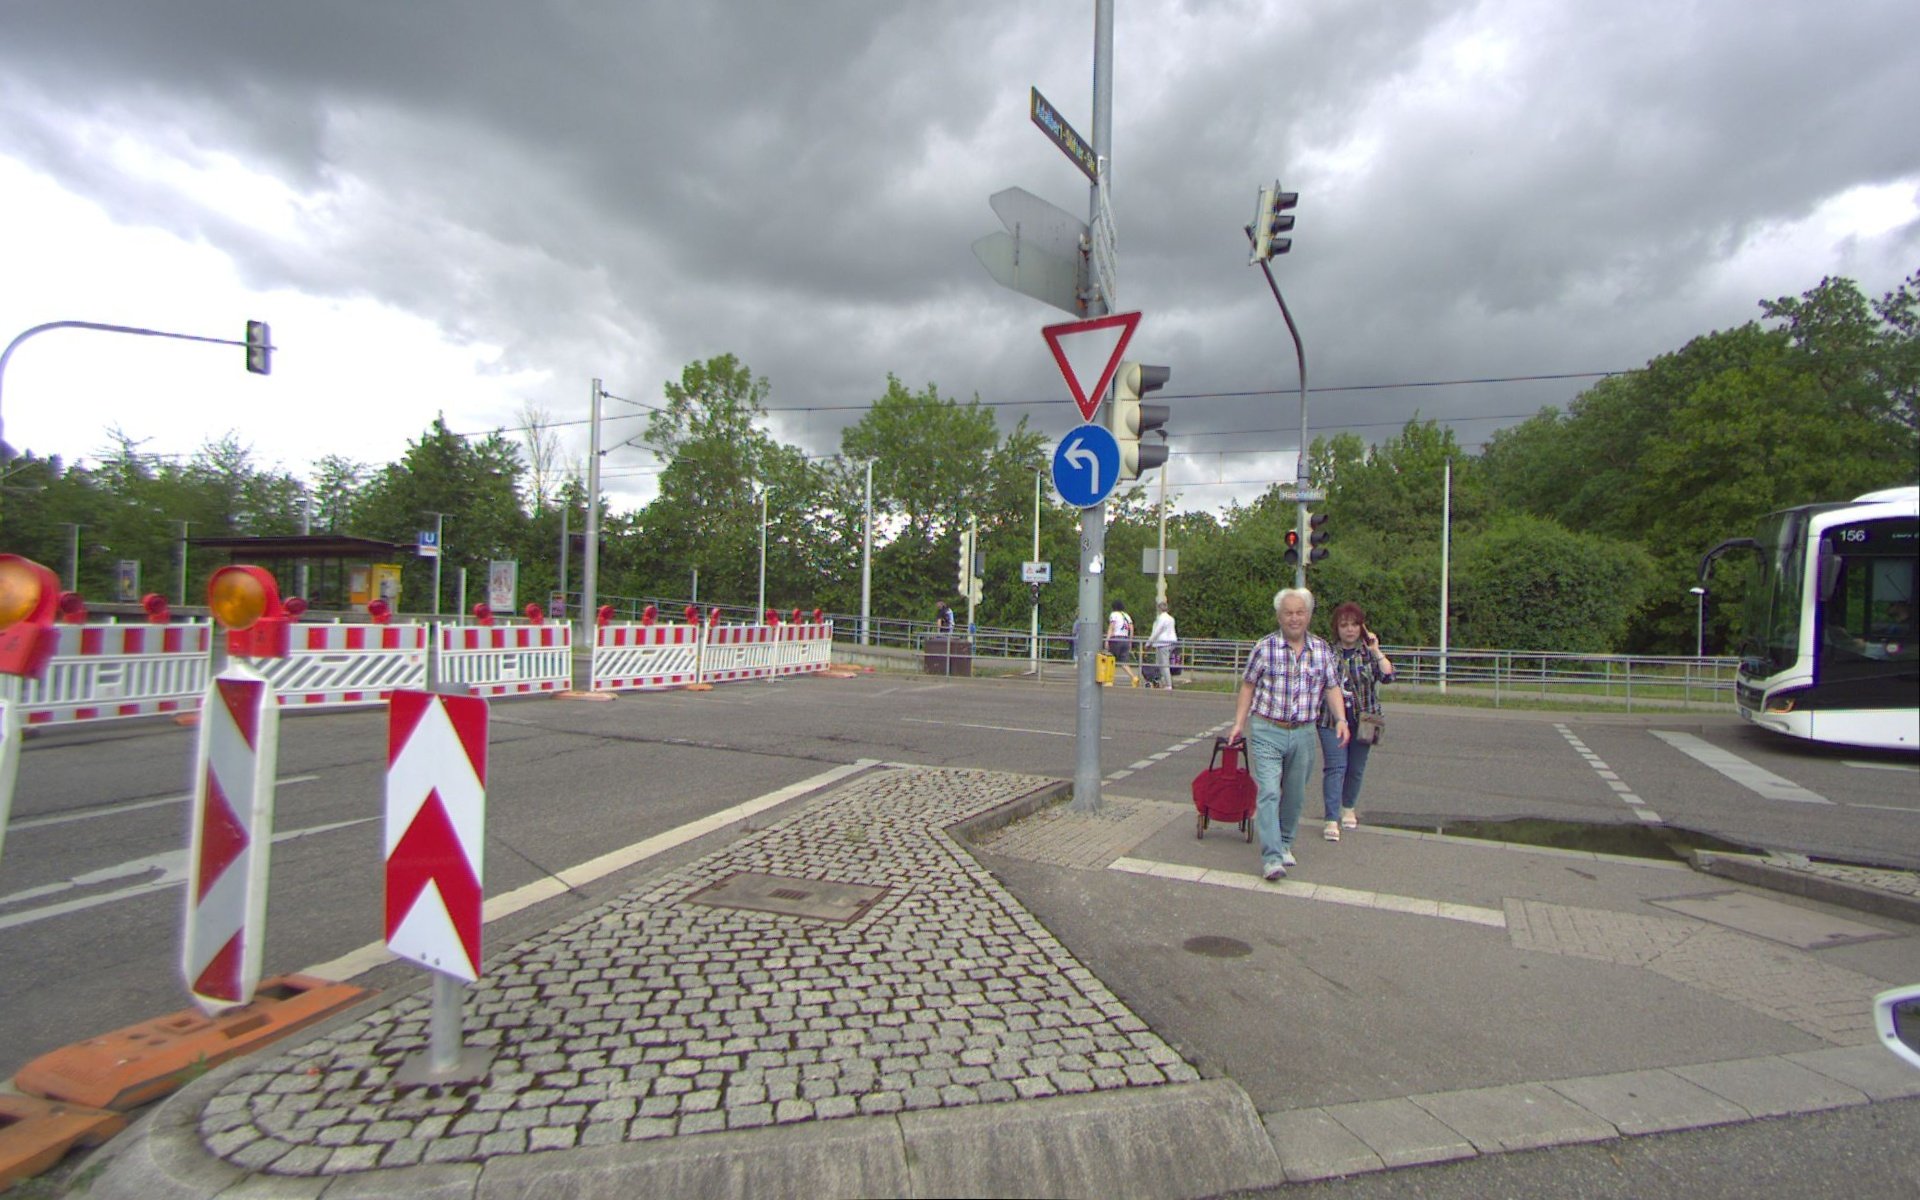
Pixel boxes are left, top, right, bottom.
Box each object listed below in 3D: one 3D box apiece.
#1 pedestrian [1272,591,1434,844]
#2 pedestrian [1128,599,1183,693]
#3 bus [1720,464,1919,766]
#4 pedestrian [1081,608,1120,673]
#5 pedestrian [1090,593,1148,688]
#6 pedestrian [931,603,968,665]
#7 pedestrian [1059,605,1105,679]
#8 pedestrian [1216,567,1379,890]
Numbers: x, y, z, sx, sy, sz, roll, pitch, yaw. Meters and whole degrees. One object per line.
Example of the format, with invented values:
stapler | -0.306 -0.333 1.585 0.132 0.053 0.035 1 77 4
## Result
pedestrian | 2.610 0.750 6.732 0.680 1.587 0.731 2 -1 -13
pedestrian | 3.849 0.893 19.751 0.710 1.771 0.955 2 -1 34
bus | 15.082 0.288 9.717 11.977 3.245 2.671 1 -1 29
pedestrian | 3.638 1.036 25.963 0.709 1.643 0.804 2 -1 28
pedestrian | 3.082 0.777 19.435 0.710 1.771 0.955 2 -1 34
pedestrian | -0.310 0.982 29.393 0.712 1.771 0.952 2 -1 -23
pedestrian | 3.009 1.022 24.714 0.938 1.771 0.722 2 -1 20
pedestrian | 1.871 0.686 5.653 0.685 1.655 0.723 3 -2 7
